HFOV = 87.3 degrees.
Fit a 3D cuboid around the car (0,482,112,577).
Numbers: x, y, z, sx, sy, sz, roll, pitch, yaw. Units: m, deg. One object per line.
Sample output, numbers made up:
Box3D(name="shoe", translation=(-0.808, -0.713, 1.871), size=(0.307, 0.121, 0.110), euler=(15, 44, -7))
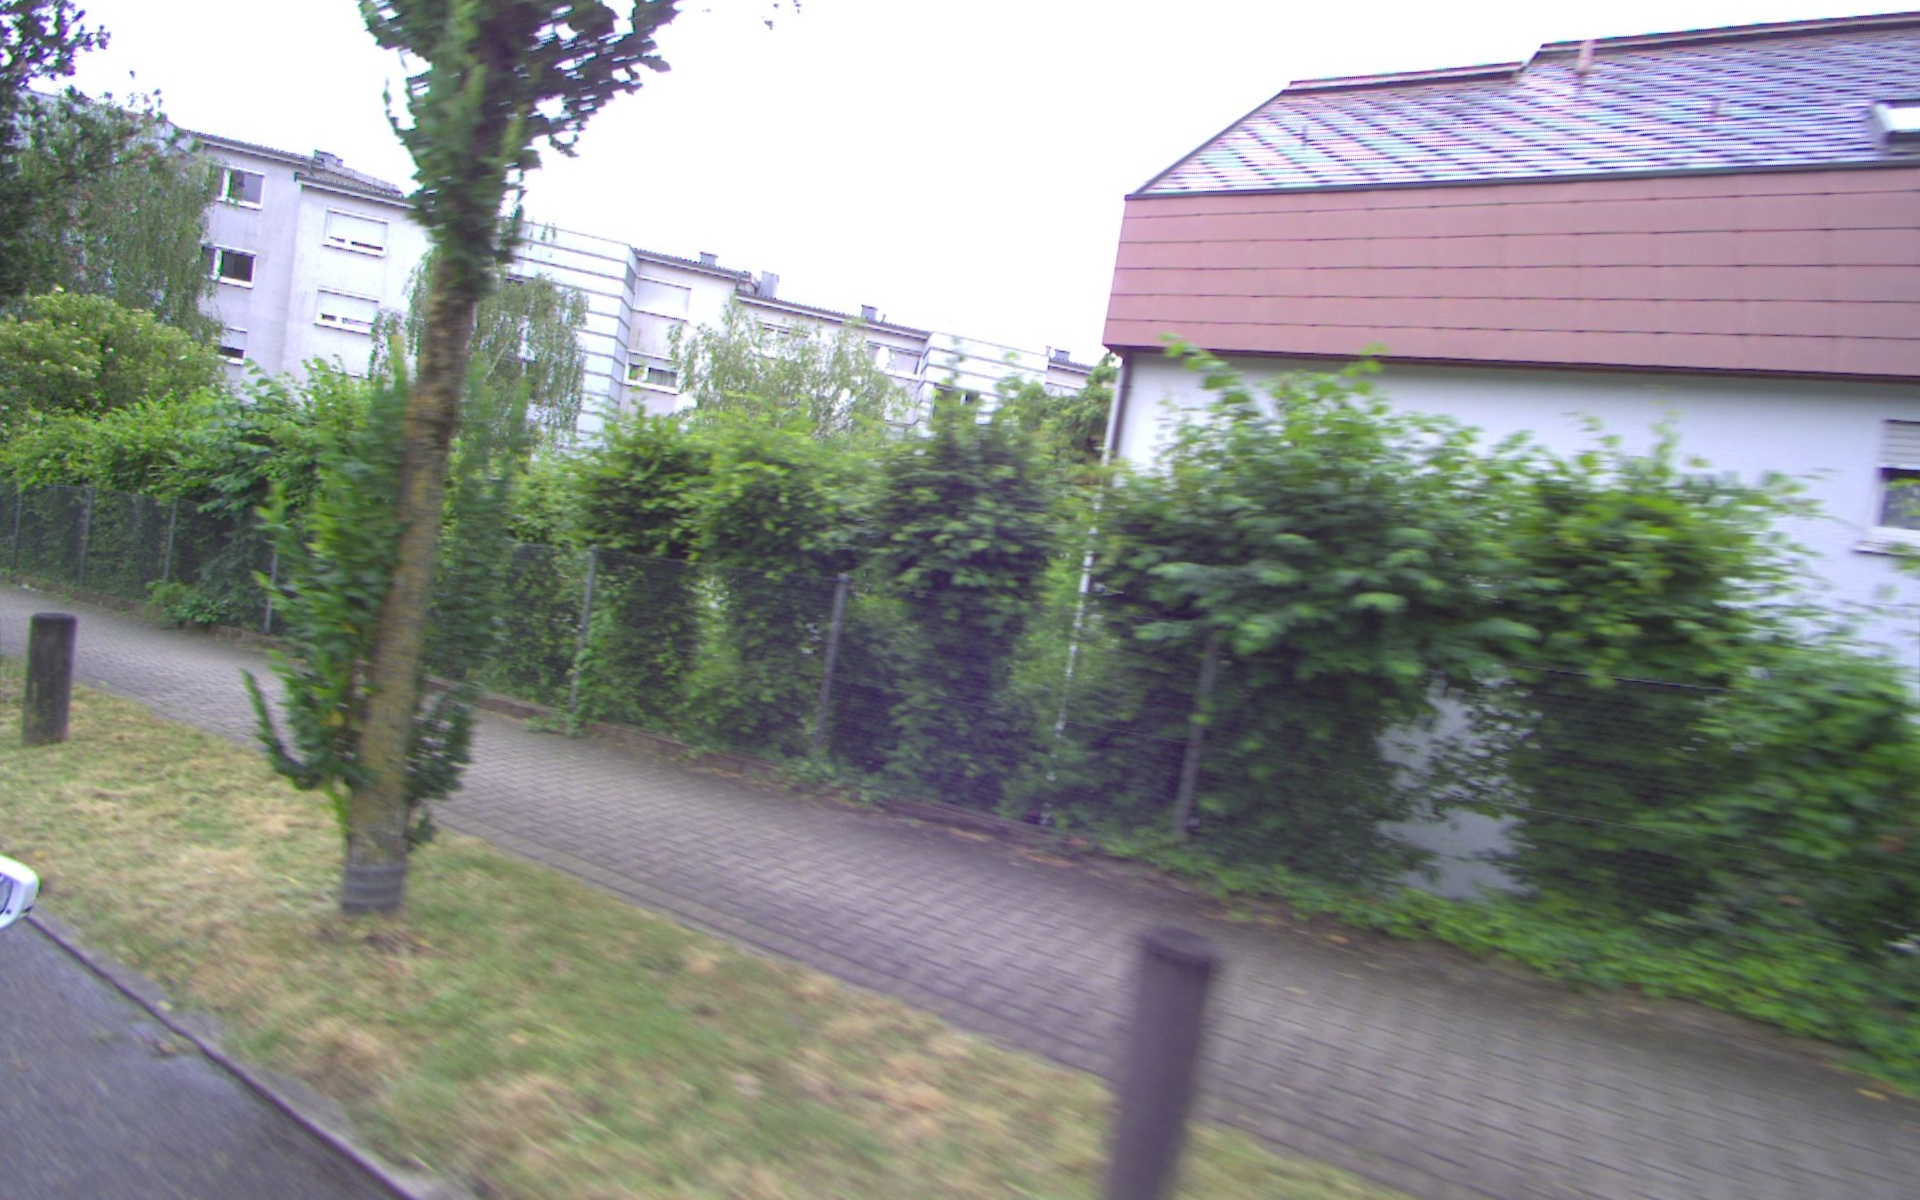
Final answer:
Box3D(name="car", translation=(-18.293, -1.483, 19.443), size=(3.932, 1.451, 1.508), euler=(8, -3, 30))
